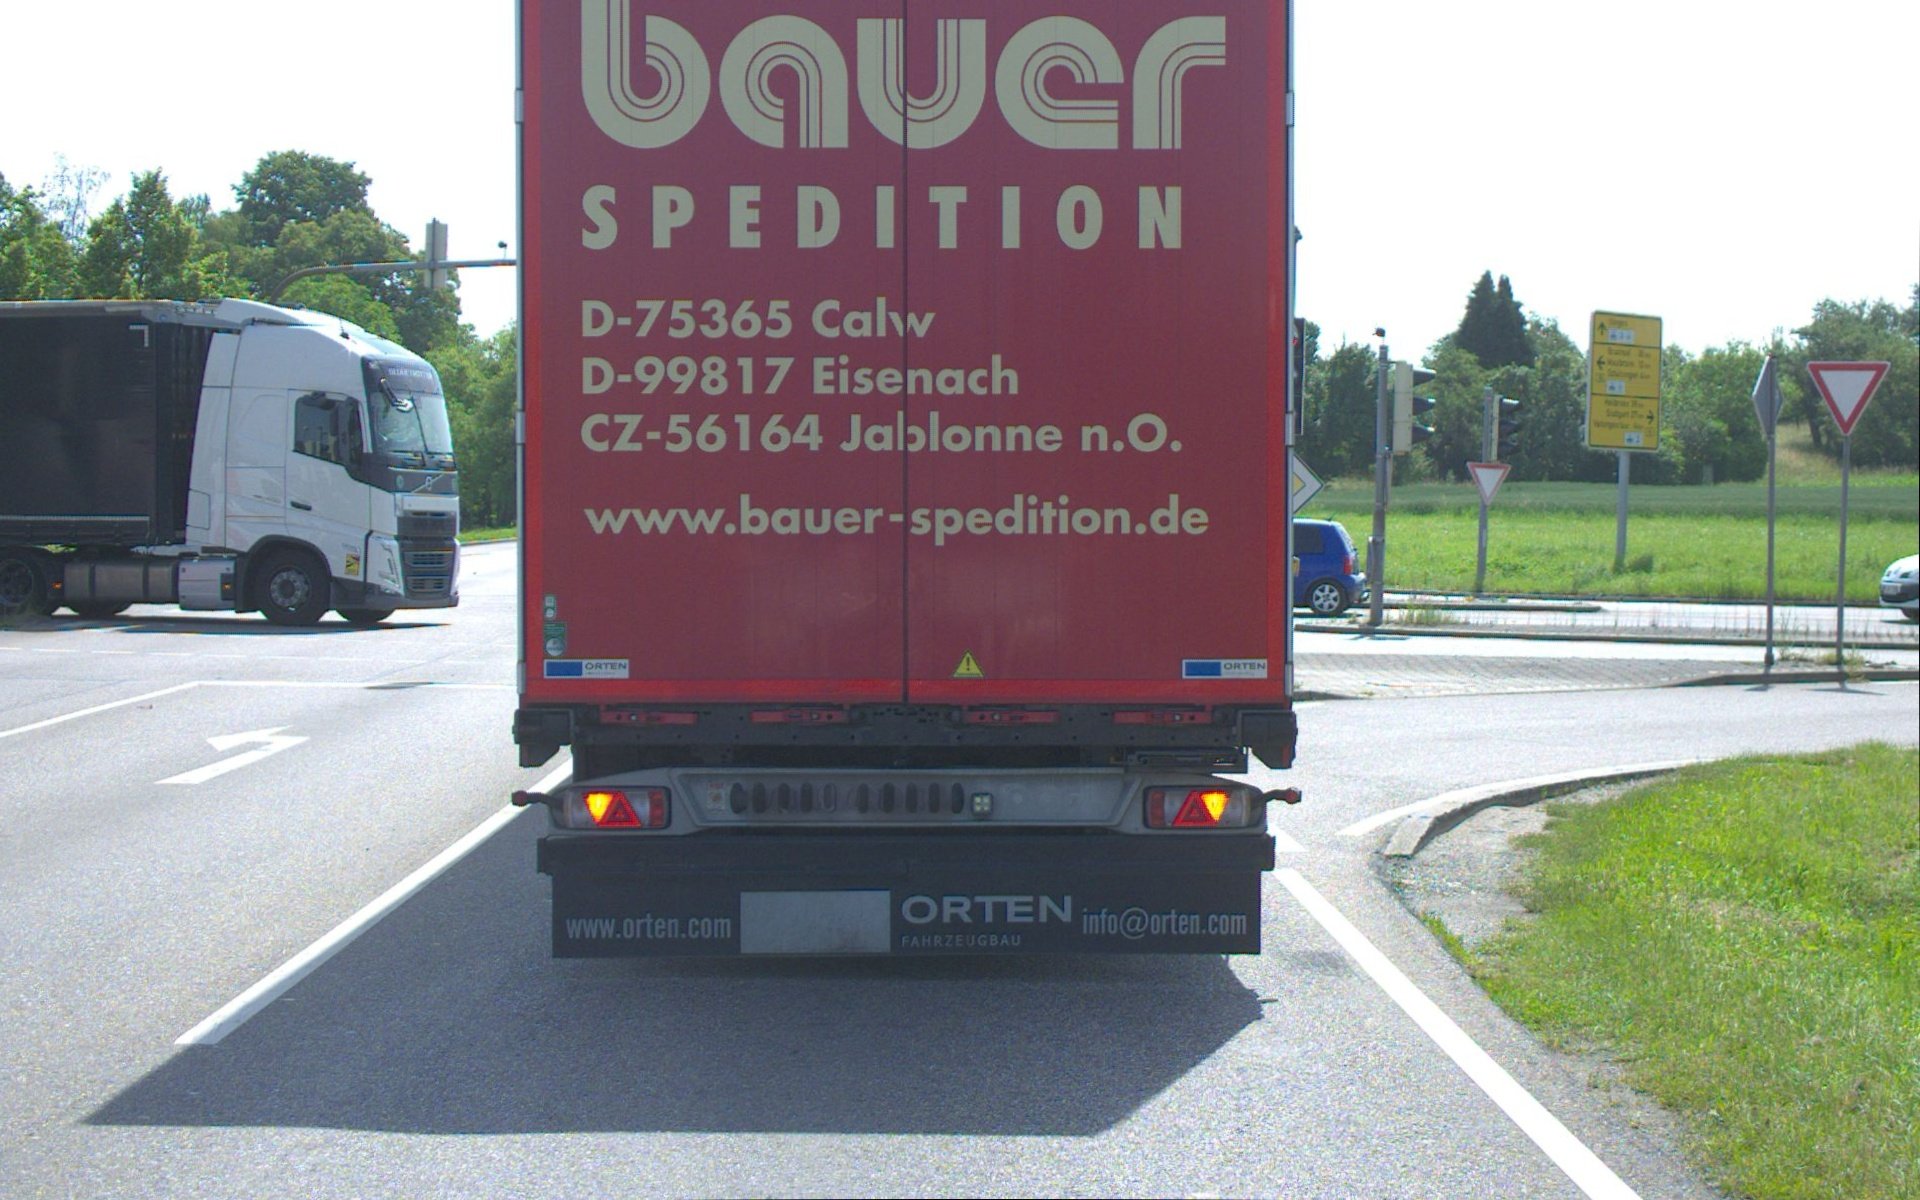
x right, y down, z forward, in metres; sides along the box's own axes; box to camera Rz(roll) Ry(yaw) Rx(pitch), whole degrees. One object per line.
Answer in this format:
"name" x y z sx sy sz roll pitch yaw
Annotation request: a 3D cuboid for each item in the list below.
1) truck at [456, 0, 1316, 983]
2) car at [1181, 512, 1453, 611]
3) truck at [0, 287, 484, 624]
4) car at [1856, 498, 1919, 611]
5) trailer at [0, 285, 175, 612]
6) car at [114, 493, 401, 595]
"truck" -0.286 -0.957 19.373 2.734 3.911 16.627 1 2 0
"car" 5.269 -0.577 50.594 3.849 1.352 1.676 2 1 10
"truck" -9.316 -1.856 43.564 5.830 4.047 2.796 2 2 15
"car" 15.299 -0.650 50.340 3.826 1.628 1.761 0 0 -8
"trailer" -17.260 -2.103 45.988 13.696 4.047 2.796 2 2 18
"car" -11.243 -0.885 55.121 4.101 1.542 1.872 0 -1 12
